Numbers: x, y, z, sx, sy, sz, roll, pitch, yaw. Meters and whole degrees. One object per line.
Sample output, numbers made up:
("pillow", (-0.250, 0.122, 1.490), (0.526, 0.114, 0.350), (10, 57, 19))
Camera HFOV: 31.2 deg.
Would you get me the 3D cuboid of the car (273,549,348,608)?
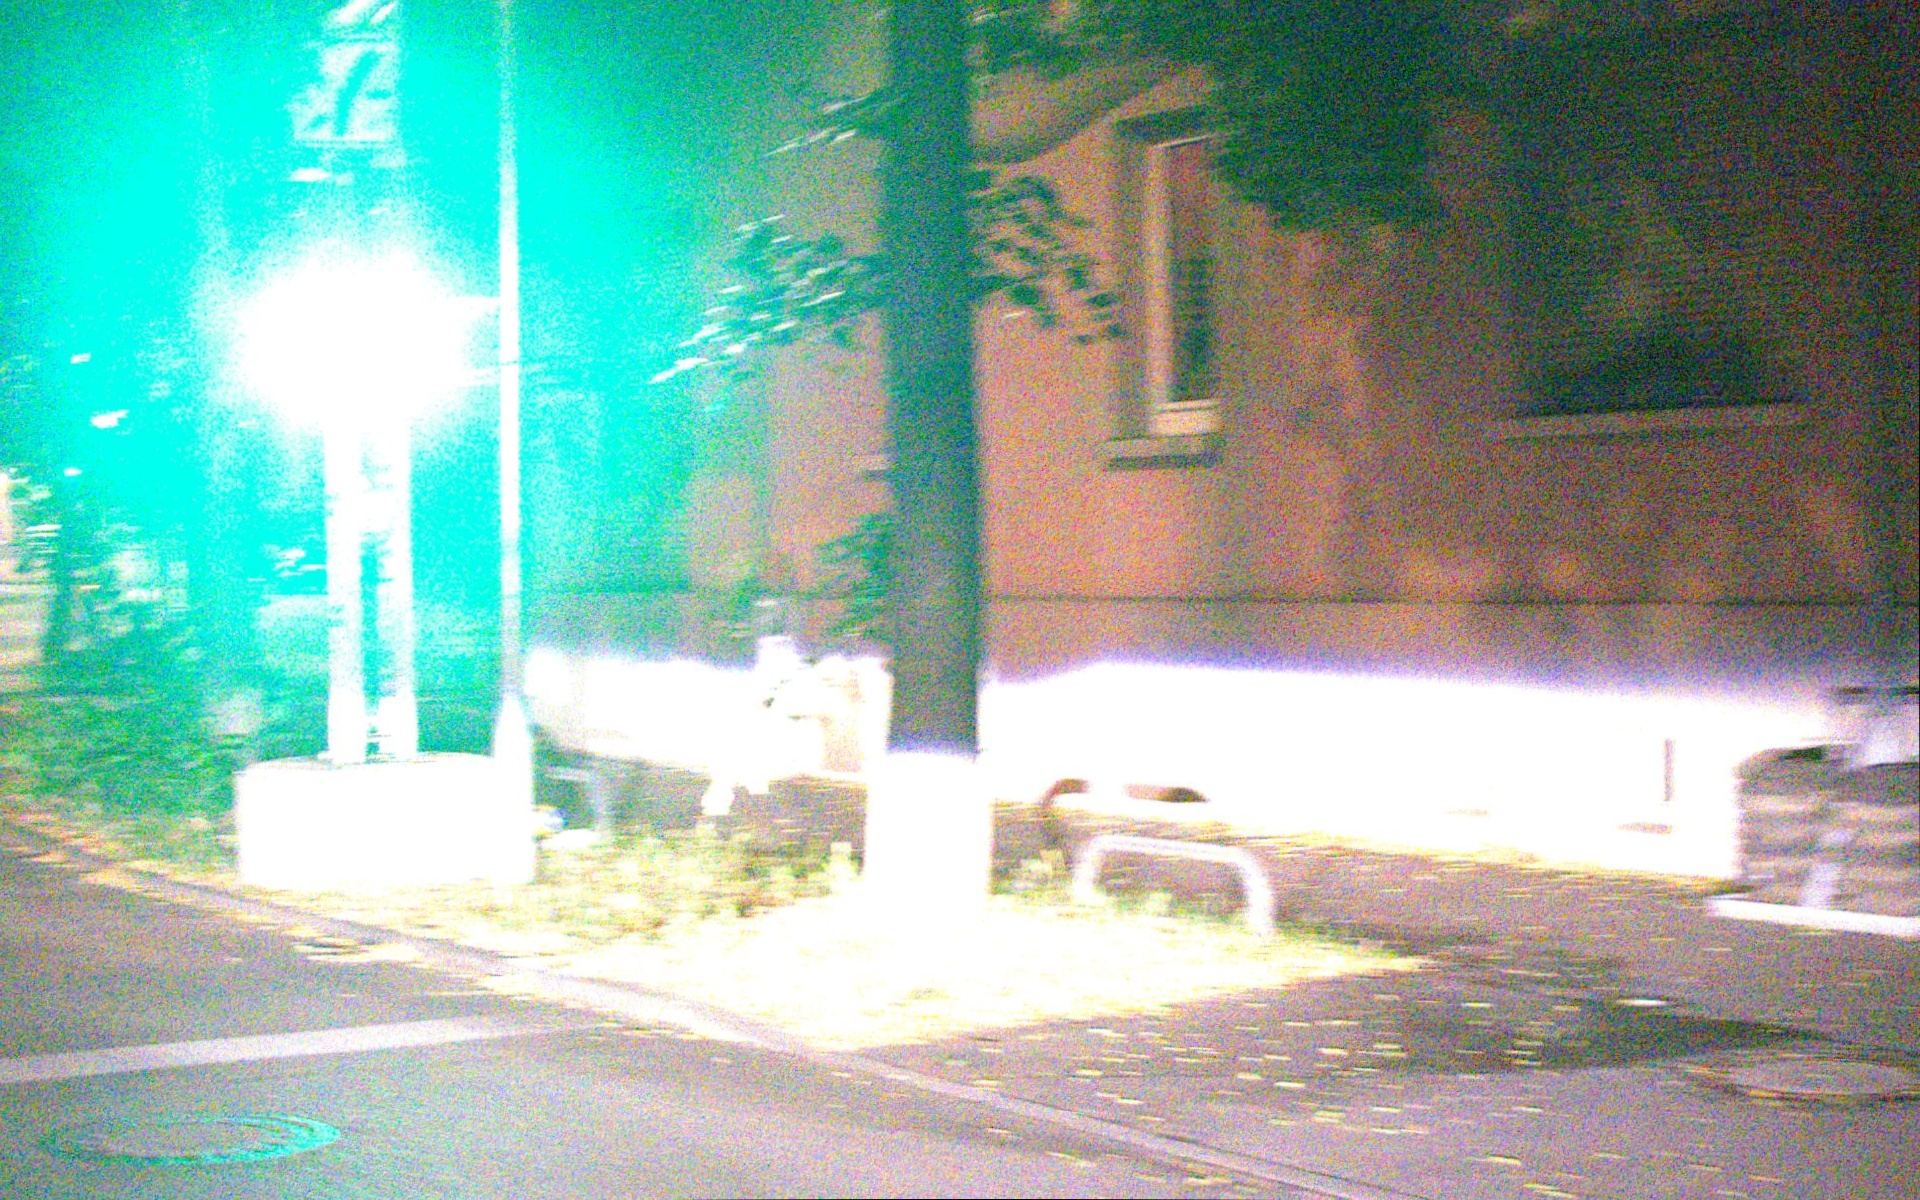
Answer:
("car", (-16.944, -0.575, 89.610), (1.733, 1.454, 4.729), (0, 1, -13))
